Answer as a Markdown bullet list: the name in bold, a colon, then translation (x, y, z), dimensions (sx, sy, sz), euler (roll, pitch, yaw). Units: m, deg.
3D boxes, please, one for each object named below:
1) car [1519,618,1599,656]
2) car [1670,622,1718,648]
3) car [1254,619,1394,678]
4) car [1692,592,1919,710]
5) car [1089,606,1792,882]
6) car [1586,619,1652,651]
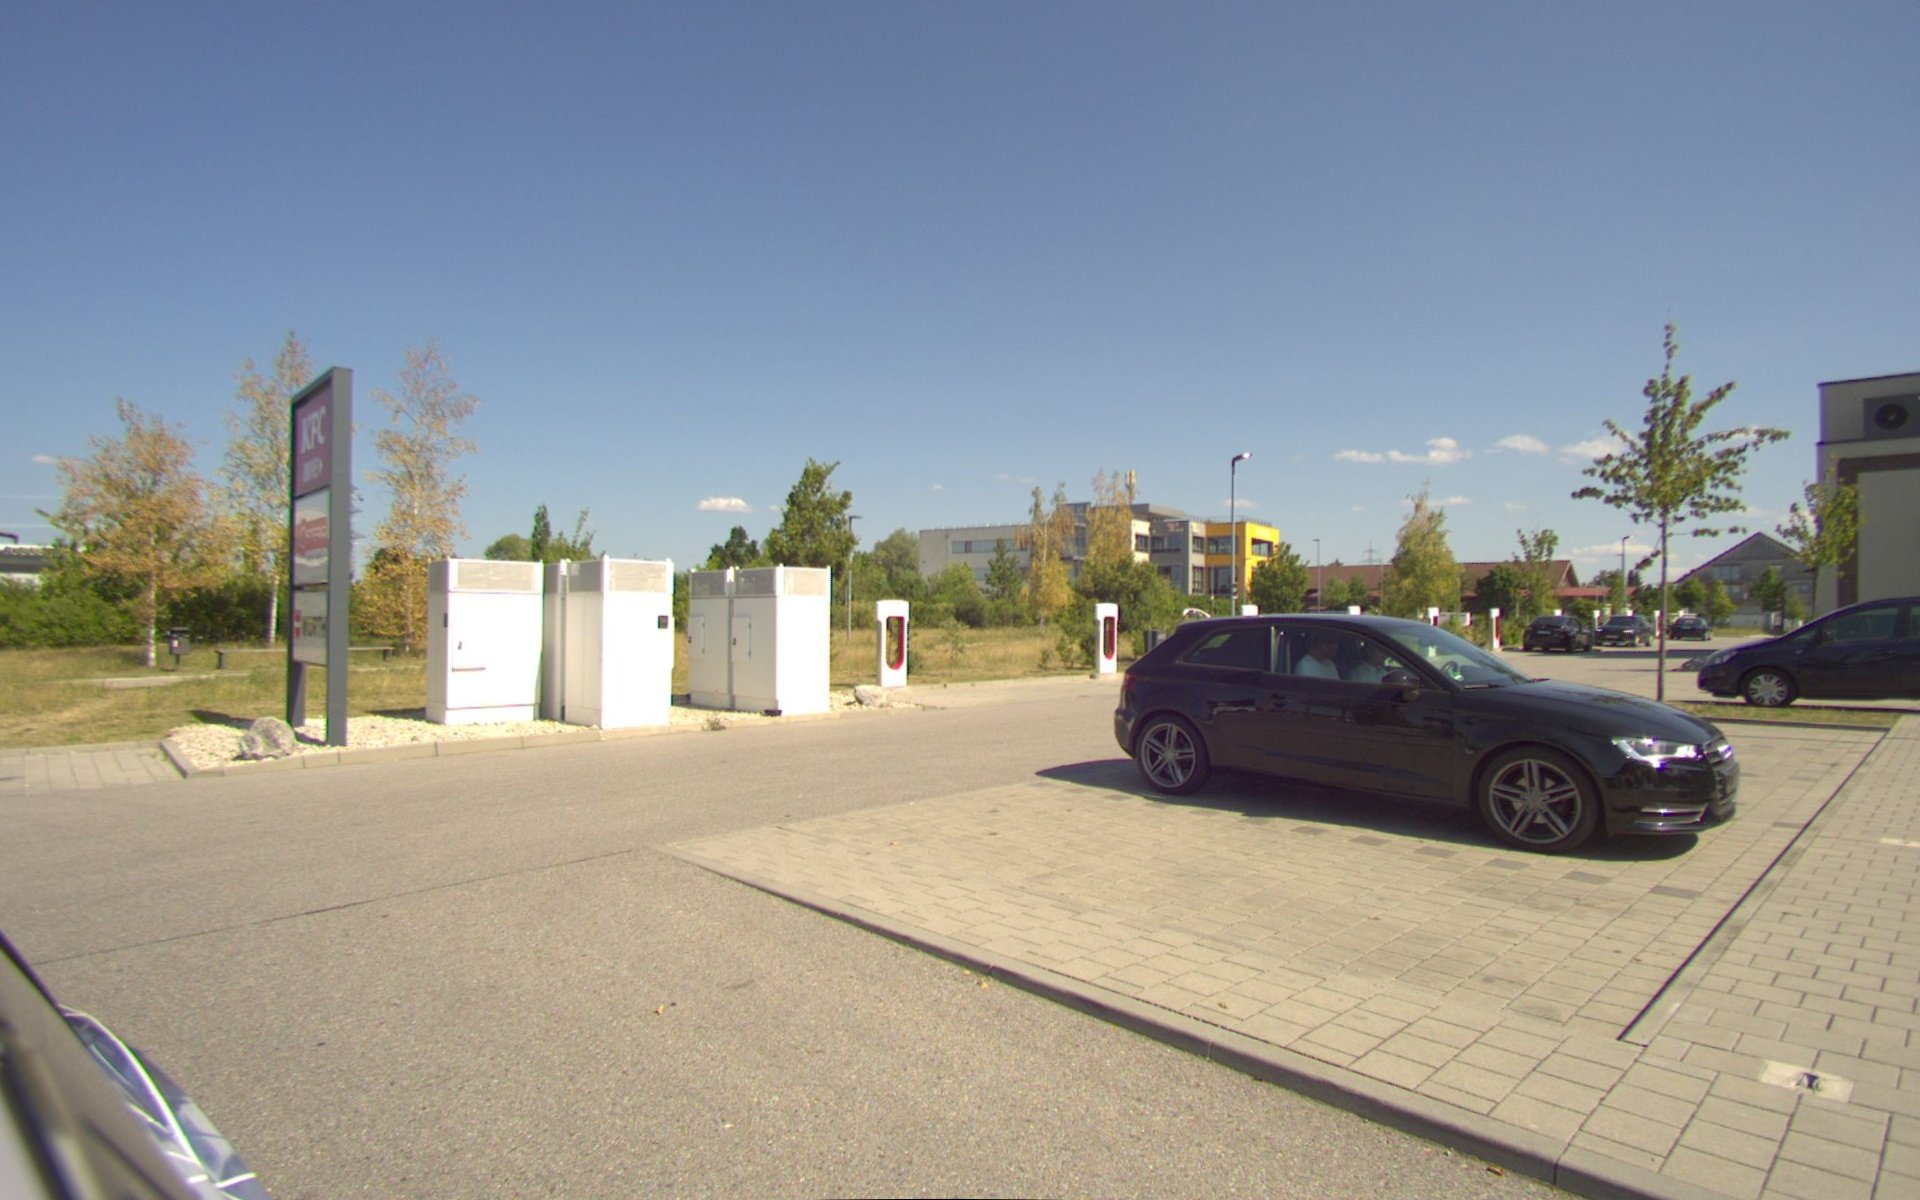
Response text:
- **car**: translation (26.121, 1.554, 44.103), dimensions (3.941, 1.519, 2.071), euler (1, 0, -45)
- **car**: translation (46.419, 2.184, 63.970), dimensions (3.941, 1.519, 1.813), euler (1, -1, -45)
- **car**: translation (10.803, 1.362, 29.917), dimensions (4.367, 1.538, 2.220), euler (1, 0, -45)
- **car**: translation (13.310, 0.692, 14.305), dimensions (4.552, 1.581, 1.971), euler (-2, -2, 44)
- **car**: translation (3.174, 0.775, 7.384), dimensions (1.704, 1.422, 4.318), euler (1, -1, -44)
- **car**: translation (34.137, 1.763, 52.362), dimensions (3.941, 1.519, 2.071), euler (1, 0, -45)
